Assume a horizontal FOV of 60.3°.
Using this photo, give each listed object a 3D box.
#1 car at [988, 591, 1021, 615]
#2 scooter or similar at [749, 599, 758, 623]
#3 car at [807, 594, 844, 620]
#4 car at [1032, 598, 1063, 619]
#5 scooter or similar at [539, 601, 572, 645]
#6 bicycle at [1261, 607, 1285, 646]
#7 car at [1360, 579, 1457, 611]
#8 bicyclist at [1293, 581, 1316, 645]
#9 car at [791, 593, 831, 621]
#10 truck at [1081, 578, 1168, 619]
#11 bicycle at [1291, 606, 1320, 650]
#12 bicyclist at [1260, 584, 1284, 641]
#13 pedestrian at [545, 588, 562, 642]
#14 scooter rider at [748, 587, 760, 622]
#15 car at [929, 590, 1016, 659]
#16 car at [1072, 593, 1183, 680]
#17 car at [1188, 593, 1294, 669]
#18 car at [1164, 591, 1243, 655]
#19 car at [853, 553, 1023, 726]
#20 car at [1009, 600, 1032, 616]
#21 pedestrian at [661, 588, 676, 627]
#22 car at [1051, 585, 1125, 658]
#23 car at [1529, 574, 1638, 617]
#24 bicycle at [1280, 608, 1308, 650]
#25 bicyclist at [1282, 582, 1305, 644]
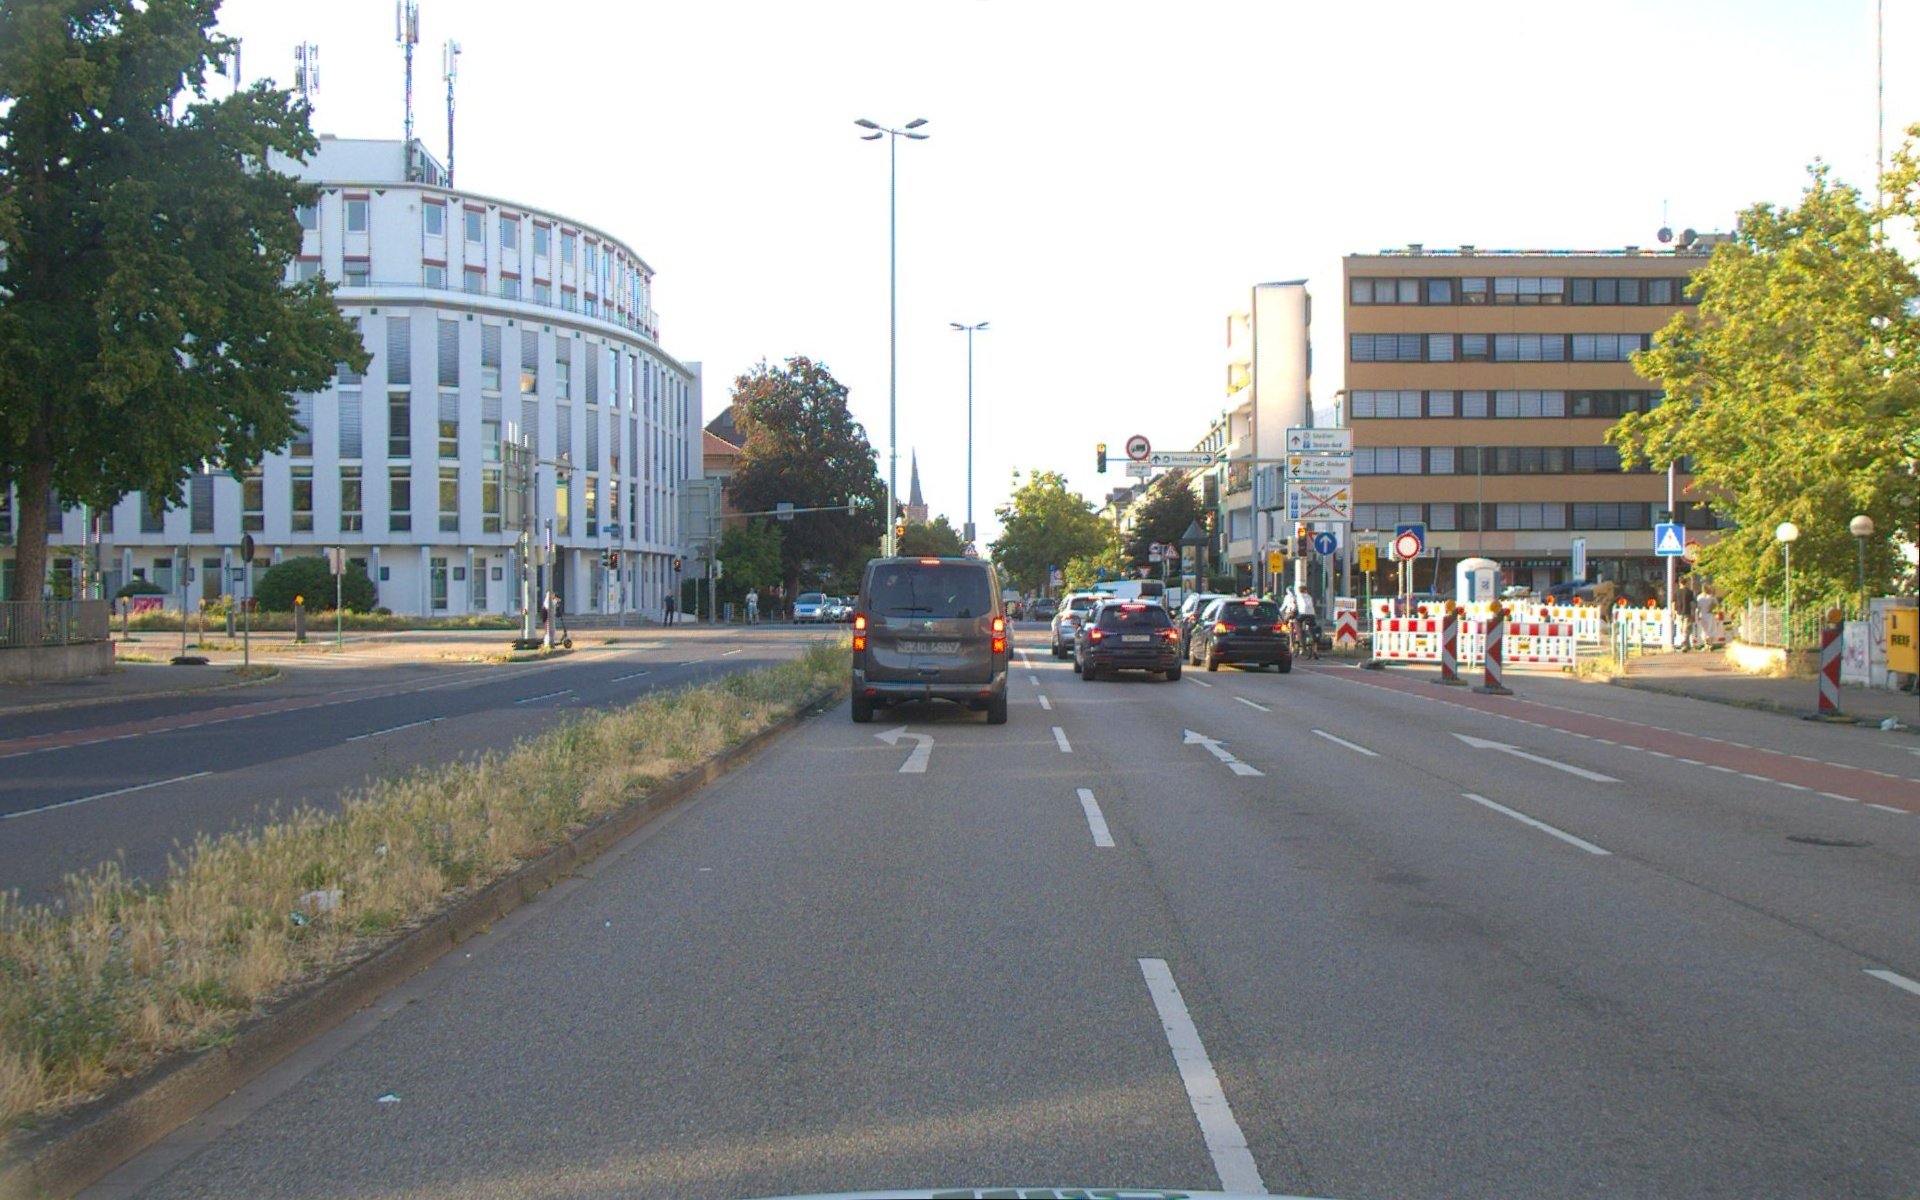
[{"bbox_3d":[3.165,0.208,118.925,1.954,1.691,3.996,-1,0,-5],"label":"car"},{"bbox_3d":[-10.453,0.570,83.578,0.279,1.209,1.169,0,0,1],"label":"scooter or similar"},{"bbox_3d":[-7.589,0.370,93.567,1.818,1.445,3.999,-1,0,-1],"label":"car"},{"bbox_3d":[6.121,0.589,115.870,1.865,1.396,3.999,-1,0,-1],"label":"car"},{"bbox_3d":[-11.666,0.665,47.717,0.877,1.255,0.370,0,0,-11],"label":"scooter or similar"},{"bbox_3d":[8.552,0.704,45.220,0.329,1.025,1.856,0,0,1],"label":"bicycle"},{"bbox_3d":[20.502,-0.227,75.626,3.910,1.445,1.786,0,0,-6],"label":"car"},{"bbox_3d":[8.354,0.314,40.112,0.432,1.552,0.482,0,0,0],"label":"bicyclist"},{"bbox_3d":[-7.862,0.342,87.605,1.818,1.445,3.999,-1,0,-1],"label":"car"},{"bbox_3d":[8.829,-0.098,89.106,2.113,2.123,4.569,-1,0,-38],"label":"truck"},{"bbox_3d":[8.362,0.673,40.112,0.329,1.025,1.856,0,0,1],"label":"bicycle"},{"bbox_3d":[8.531,0.344,45.267,0.502,1.552,0.725,0,0,0],"label":"bicyclist"},{"bbox_3d":[-11.756,0.431,47.827,0.466,1.532,0.334,0,0,-11],"label":"pedestrian"},{"bbox_3d":[-10.419,0.217,83.652,0.471,1.727,0.636,0,0,0],"label":"scooter rider"},{"bbox_3d":[0.310,0.538,39.428,1.952,1.557,4.000,0,0,0],"label":"car"},{"bbox_3d":[3.018,0.620,30.492,1.647,1.446,4.214,1,0,0],"label":"car"},{"bbox_3d":[5.849,0.611,34.746,1.600,1.474,3.745,1,0,0],"label":"car"},{"bbox_3d":[5.906,0.534,40.383,1.474,1.474,3.305,0,0,0],"label":"car"},{"bbox_3d":[-0.227,0.427,20.779,1.867,1.896,4.527,1,0,0],"label":"car"},{"bbox_3d":[5.539,0.765,152.017,1.865,1.396,3.999,-1,0,-1],"label":"car"},{"bbox_3d":[-13.484,0.344,76.474,0.615,1.752,0.669,0,0,-13],"label":"pedestrian"},{"bbox_3d":[3.042,0.489,39.932,1.497,1.641,3.745,1,0,0],"label":"car"},{"bbox_3d":[27.929,-0.214,74.182,4.128,1.849,2.000,-1,0,1],"label":"car"},{"bbox_3d":[8.524,0.721,42.249,0.329,1.025,1.856,0,0,1],"label":"bicycle"},{"bbox_3d":[8.529,0.329,42.331,0.432,1.552,0.725,0,0,0],"label":"bicyclist"}]
